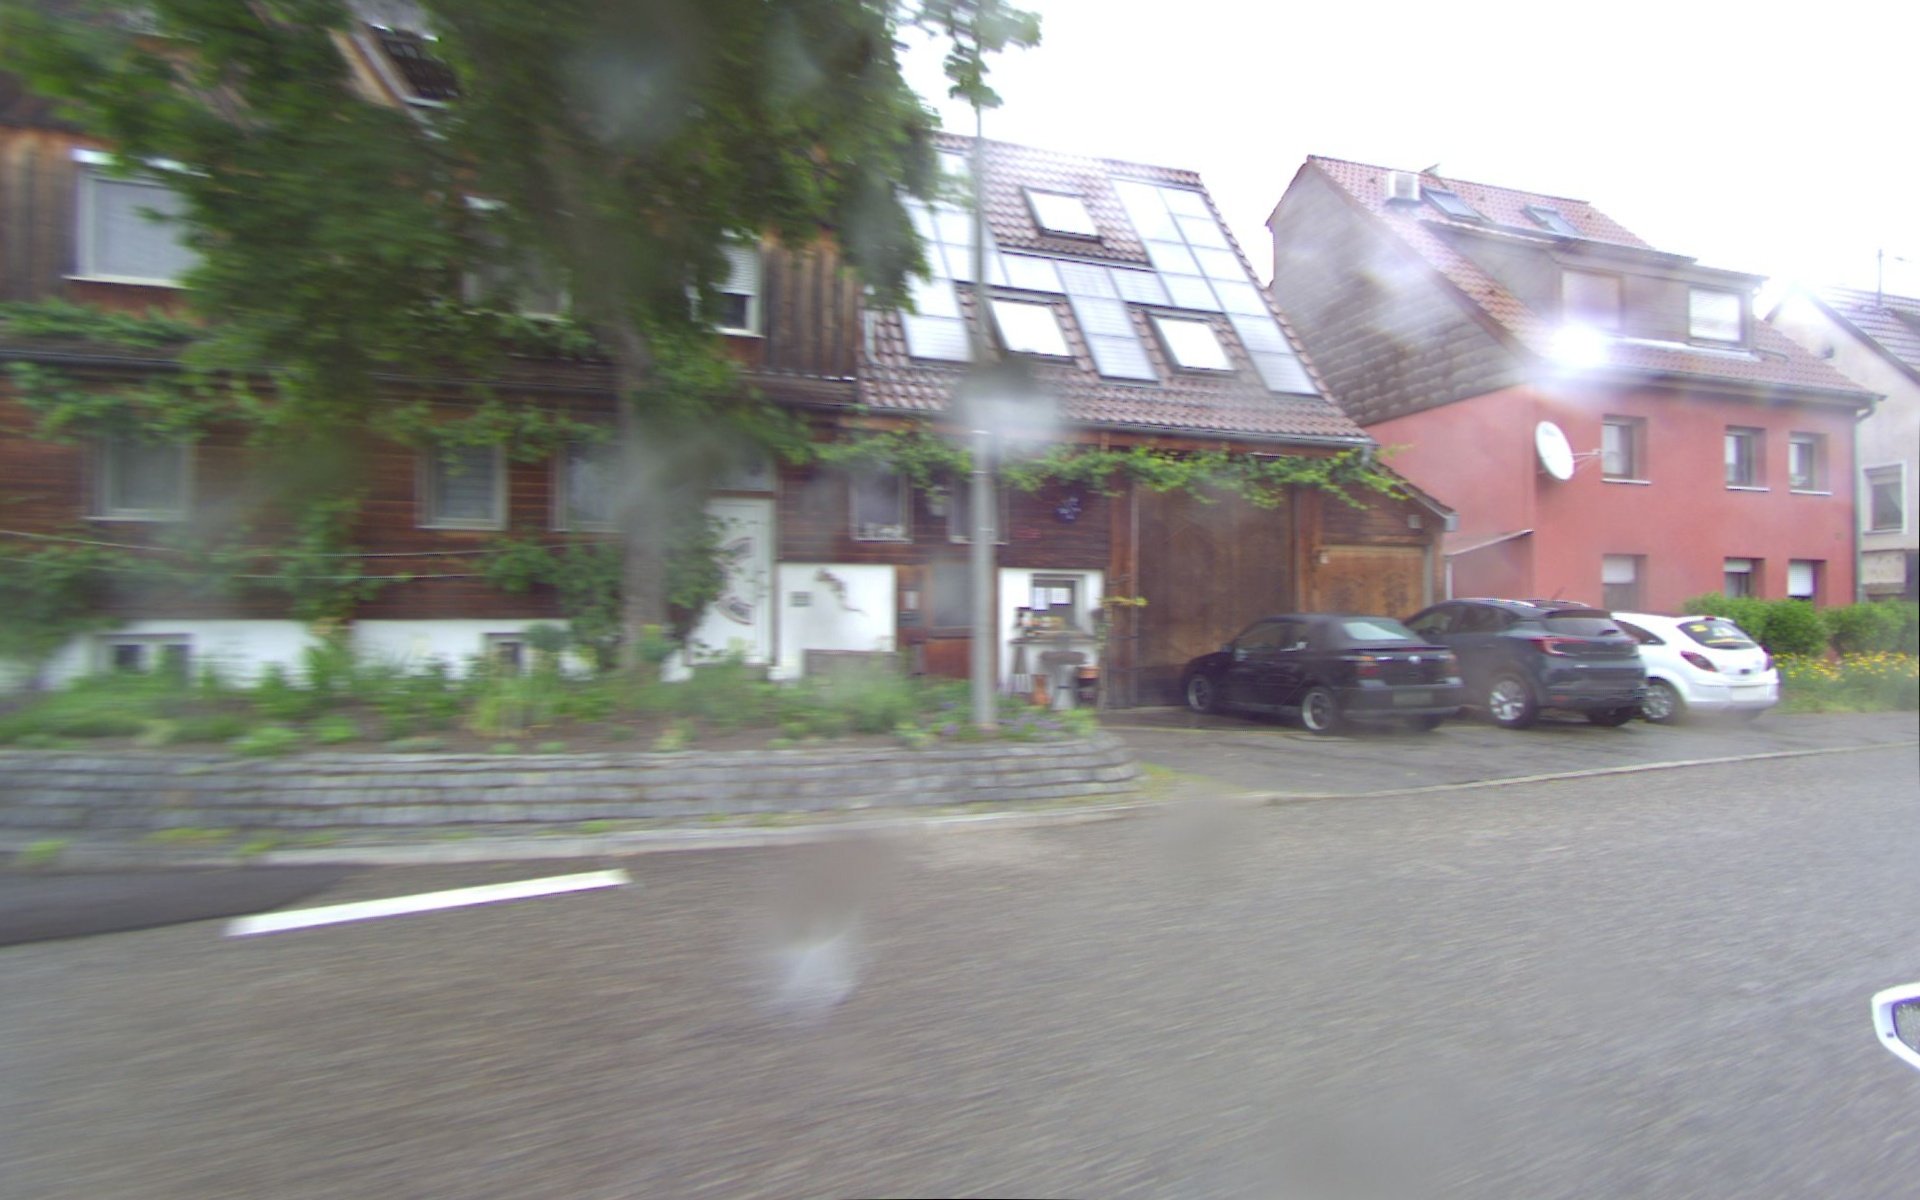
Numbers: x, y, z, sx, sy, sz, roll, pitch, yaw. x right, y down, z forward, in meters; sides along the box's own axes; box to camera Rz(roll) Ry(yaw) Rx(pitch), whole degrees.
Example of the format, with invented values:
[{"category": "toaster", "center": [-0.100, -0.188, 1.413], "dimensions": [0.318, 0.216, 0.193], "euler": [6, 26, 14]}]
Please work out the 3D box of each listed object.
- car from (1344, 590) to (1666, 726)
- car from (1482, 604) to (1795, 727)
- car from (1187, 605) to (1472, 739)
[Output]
[{"category": "car", "center": [7.135, 0.668, 13.576], "dimensions": [1.825, 1.526, 3.574], "euler": [1, 1, -17]}, {"category": "car", "center": [9.445, 0.832, 14.299], "dimensions": [1.566, 1.499, 3.458], "euler": [1, 0, -18]}, {"category": "car", "center": [4.481, 0.829, 12.704], "dimensions": [1.607, 1.437, 3.443], "euler": [1, -2, -18]}]
